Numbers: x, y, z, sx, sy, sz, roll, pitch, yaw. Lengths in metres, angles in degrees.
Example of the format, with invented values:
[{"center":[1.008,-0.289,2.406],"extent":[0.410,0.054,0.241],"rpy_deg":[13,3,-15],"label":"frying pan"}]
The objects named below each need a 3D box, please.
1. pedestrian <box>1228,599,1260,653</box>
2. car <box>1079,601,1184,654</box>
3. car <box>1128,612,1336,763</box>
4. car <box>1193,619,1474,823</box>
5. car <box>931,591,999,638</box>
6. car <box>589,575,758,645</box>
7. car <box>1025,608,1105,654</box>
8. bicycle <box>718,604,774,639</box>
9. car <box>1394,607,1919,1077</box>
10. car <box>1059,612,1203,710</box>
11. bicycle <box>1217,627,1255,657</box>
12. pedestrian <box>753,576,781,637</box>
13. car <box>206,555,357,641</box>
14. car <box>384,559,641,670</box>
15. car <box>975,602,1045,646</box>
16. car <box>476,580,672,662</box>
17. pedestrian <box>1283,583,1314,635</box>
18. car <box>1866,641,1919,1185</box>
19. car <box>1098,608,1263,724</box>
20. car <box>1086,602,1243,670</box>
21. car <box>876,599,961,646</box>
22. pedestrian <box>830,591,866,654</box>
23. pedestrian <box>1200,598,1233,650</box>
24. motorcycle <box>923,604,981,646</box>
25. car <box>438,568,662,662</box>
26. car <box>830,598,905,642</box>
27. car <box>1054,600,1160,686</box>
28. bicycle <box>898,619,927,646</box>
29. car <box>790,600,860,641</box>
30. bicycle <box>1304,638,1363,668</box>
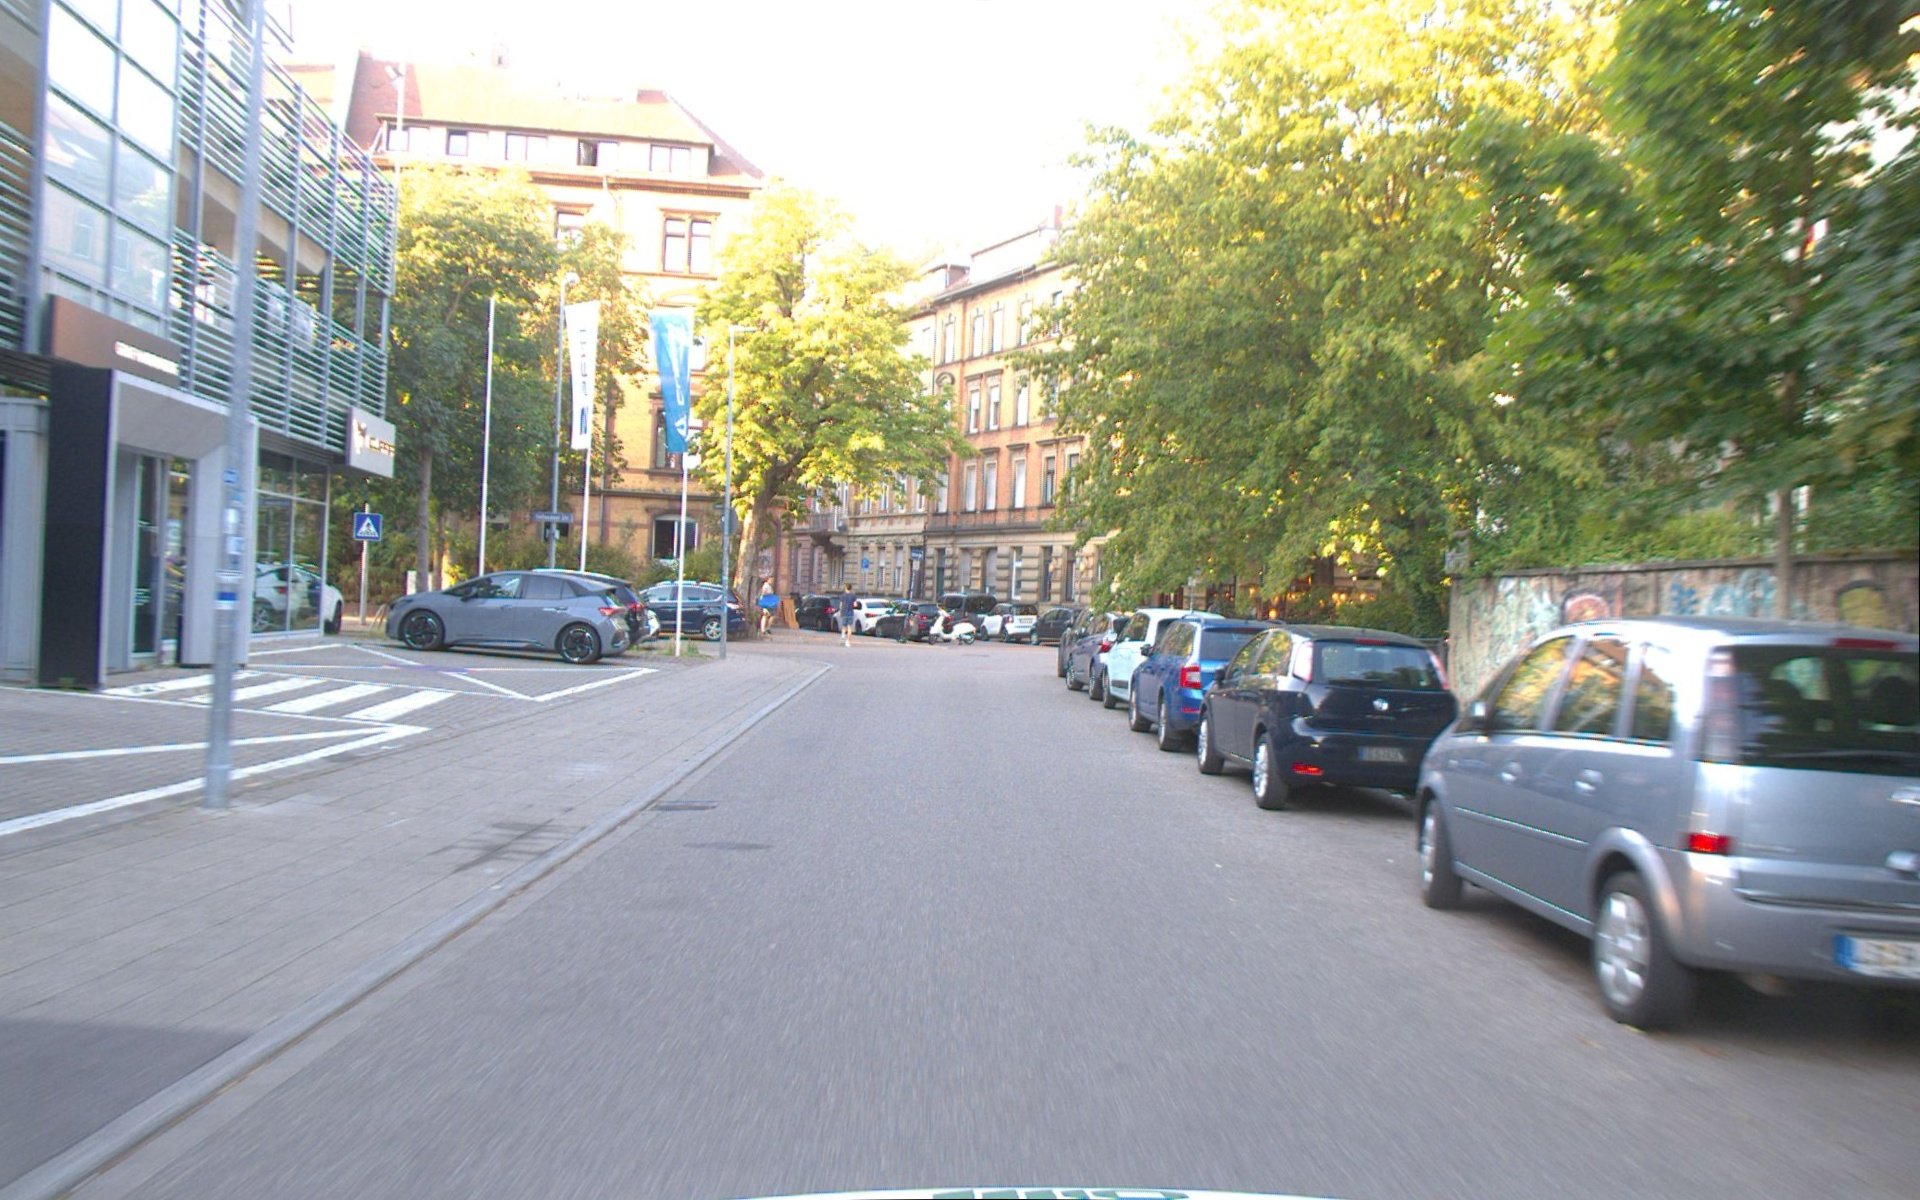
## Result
[{"center":[9.945,0.922,58.031],"extent":[0.760,1.835,0.840],"rpy_deg":[2,0,-16],"label":"pedestrian"},{"center":[5.920,0.935,57.434],"extent":[1.890,1.552,3.866],"rpy_deg":[3,1,-25],"label":"car"},{"center":[3.068,0.932,19.429],"extent":[1.661,1.502,4.116],"rpy_deg":[2,0,-1],"label":"car"},{"center":[3.194,0.970,14.838],"extent":[1.564,1.502,3.773],"rpy_deg":[2,0,-1],"label":"car"},{"center":[0.192,0.589,68.853],"extent":[1.653,1.813,2.991],"rpy_deg":[3,0,-25],"label":"car"},{"center":[-8.390,0.278,48.797],"extent":[4.738,1.762,1.918],"rpy_deg":[3,1,-7],"label":"car"},{"center":[3.909,1.154,61.931],"extent":[1.653,1.552,3.218],"rpy_deg":[2,1,-25],"label":"car"},{"center":[-6.645,0.674,51.460],"extent":[1.650,1.046,0.442],"rpy_deg":[2,0,-25],"label":"bicycle"},{"center":[3.472,0.883,7.801],"extent":[1.724,1.632,3.873],"rpy_deg":[2,0,-1],"label":"car"},{"center":[2.890,0.999,28.769],"extent":[1.662,1.502,4.207],"rpy_deg":[2,0,-5],"label":"car"},{"center":[9.386,1.435,56.328],"extent":[0.317,0.930,1.344],"rpy_deg":[2,1,-42],"label":"bicycle"},{"center":[-6.107,0.192,52.391],"extent":[0.799,1.884,0.802],"rpy_deg":[2,0,-5],"label":"pedestrian"},{"center":[-13.870,-0.037,34.041],"extent":[1.669,1.577,4.218],"rpy_deg":[3,0,-6],"label":"car"},{"center":[-7.996,0.240,29.875],"extent":[4.048,1.646,1.912],"rpy_deg":[4,1,-3],"label":"car"},{"center":[1.948,0.952,65.427],"extent":[1.653,1.552,2.746],"rpy_deg":[3,0,-25],"label":"car"},{"center":[-8.649,0.461,37.314],"extent":[3.967,1.500,1.919],"rpy_deg":[4,1,-5],"label":"car"},{"center":[12.087,0.312,59.059],"extent":[0.760,1.835,0.840],"rpy_deg":[1,1,-16],"label":"pedestrian"},{"center":[3.519,0.913,2.826],"extent":[1.724,1.467,3.873],"rpy_deg":[2,1,-1],"label":"car"},{"center":[3.165,0.914,24.351],"extent":[1.662,1.502,3.556],"rpy_deg":[2,0,-4],"label":"car"},{"center":[5.064,0.910,40.654],"extent":[1.849,1.492,3.947],"rpy_deg":[4,1,42],"label":"car"},{"center":[-1.550,0.807,60.128],"extent":[1.633,1.455,3.960],"rpy_deg":[3,1,-24],"label":"car"},{"center":[-3.340,0.659,49.424],"extent":[0.725,1.835,1.115],"rpy_deg":[2,0,-21],"label":"pedestrian"},{"center":[9.266,0.872,59.719],"extent":[0.828,1.835,0.771],"rpy_deg":[2,0,-21],"label":"pedestrian"},{"center":[-0.274,0.874,57.013],"extent":[1.897,1.364,0.576],"rpy_deg":[2,0,-12],"label":"motorcycle"},{"center":[-8.086,0.282,32.876],"extent":[3.986,1.646,1.764],"rpy_deg":[2,1,-3],"label":"car"},{"center":[-3.664,0.761,64.838],"extent":[1.632,1.455,4.139],"rpy_deg":[3,1,-23],"label":"car"},{"center":[2.945,0.838,33.806],"extent":[1.661,1.598,3.970],"rpy_deg":[2,0,-2],"label":"car"},{"center":[-1.576,1.073,54.874],"extent":[0.416,0.836,1.462],"rpy_deg":[2,1,21],"label":"bicycle"},{"center":[-5.648,0.847,68.938],"extent":[1.633,1.455,3.866],"rpy_deg":[3,1,-25],"label":"car"},{"center":[12.415,1.767,55.006],"extent":[1.935,0.900,0.399],"rpy_deg":[2,0,-15],"label":"bicycle"}]
